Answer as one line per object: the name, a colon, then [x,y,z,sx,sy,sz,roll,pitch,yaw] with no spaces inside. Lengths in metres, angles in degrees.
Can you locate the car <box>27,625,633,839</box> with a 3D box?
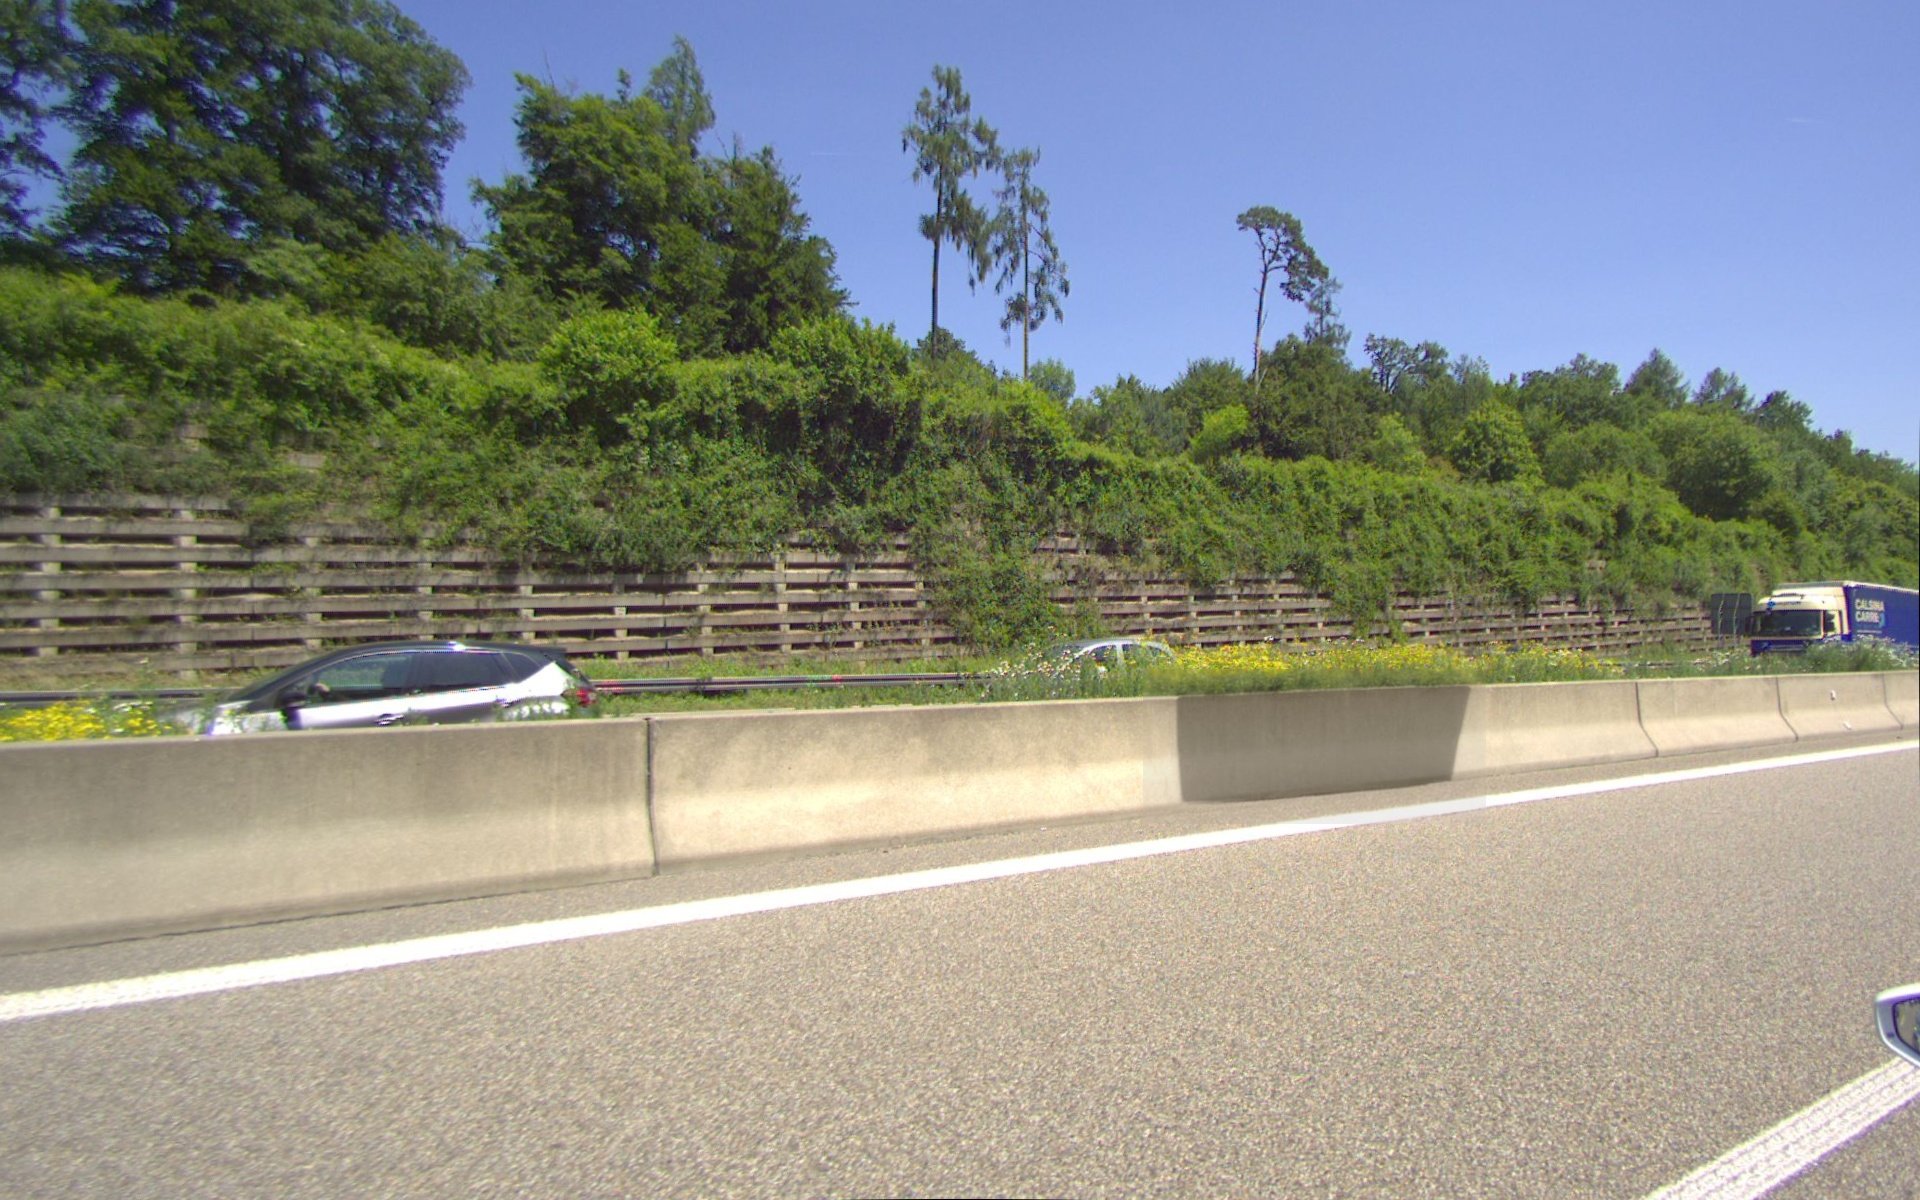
car: [-5.436,1.021,9.292,4.320,1.546,1.890,0,-2,-30]

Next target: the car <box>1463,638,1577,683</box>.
car: [20.939,2.214,37.504,4.321,1.546,1.776,0,-2,-30]

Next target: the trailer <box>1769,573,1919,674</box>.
trailer: [41.193,1.062,45.311,14.024,4.068,2.667,1,-1,-31]

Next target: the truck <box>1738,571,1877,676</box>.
truck: [35.178,0.961,41.674,5.862,4.084,2.667,1,-1,-31]

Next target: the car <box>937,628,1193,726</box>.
car: [1.928,1.302,18.120,4.320,1.546,1.890,0,-2,-30]
